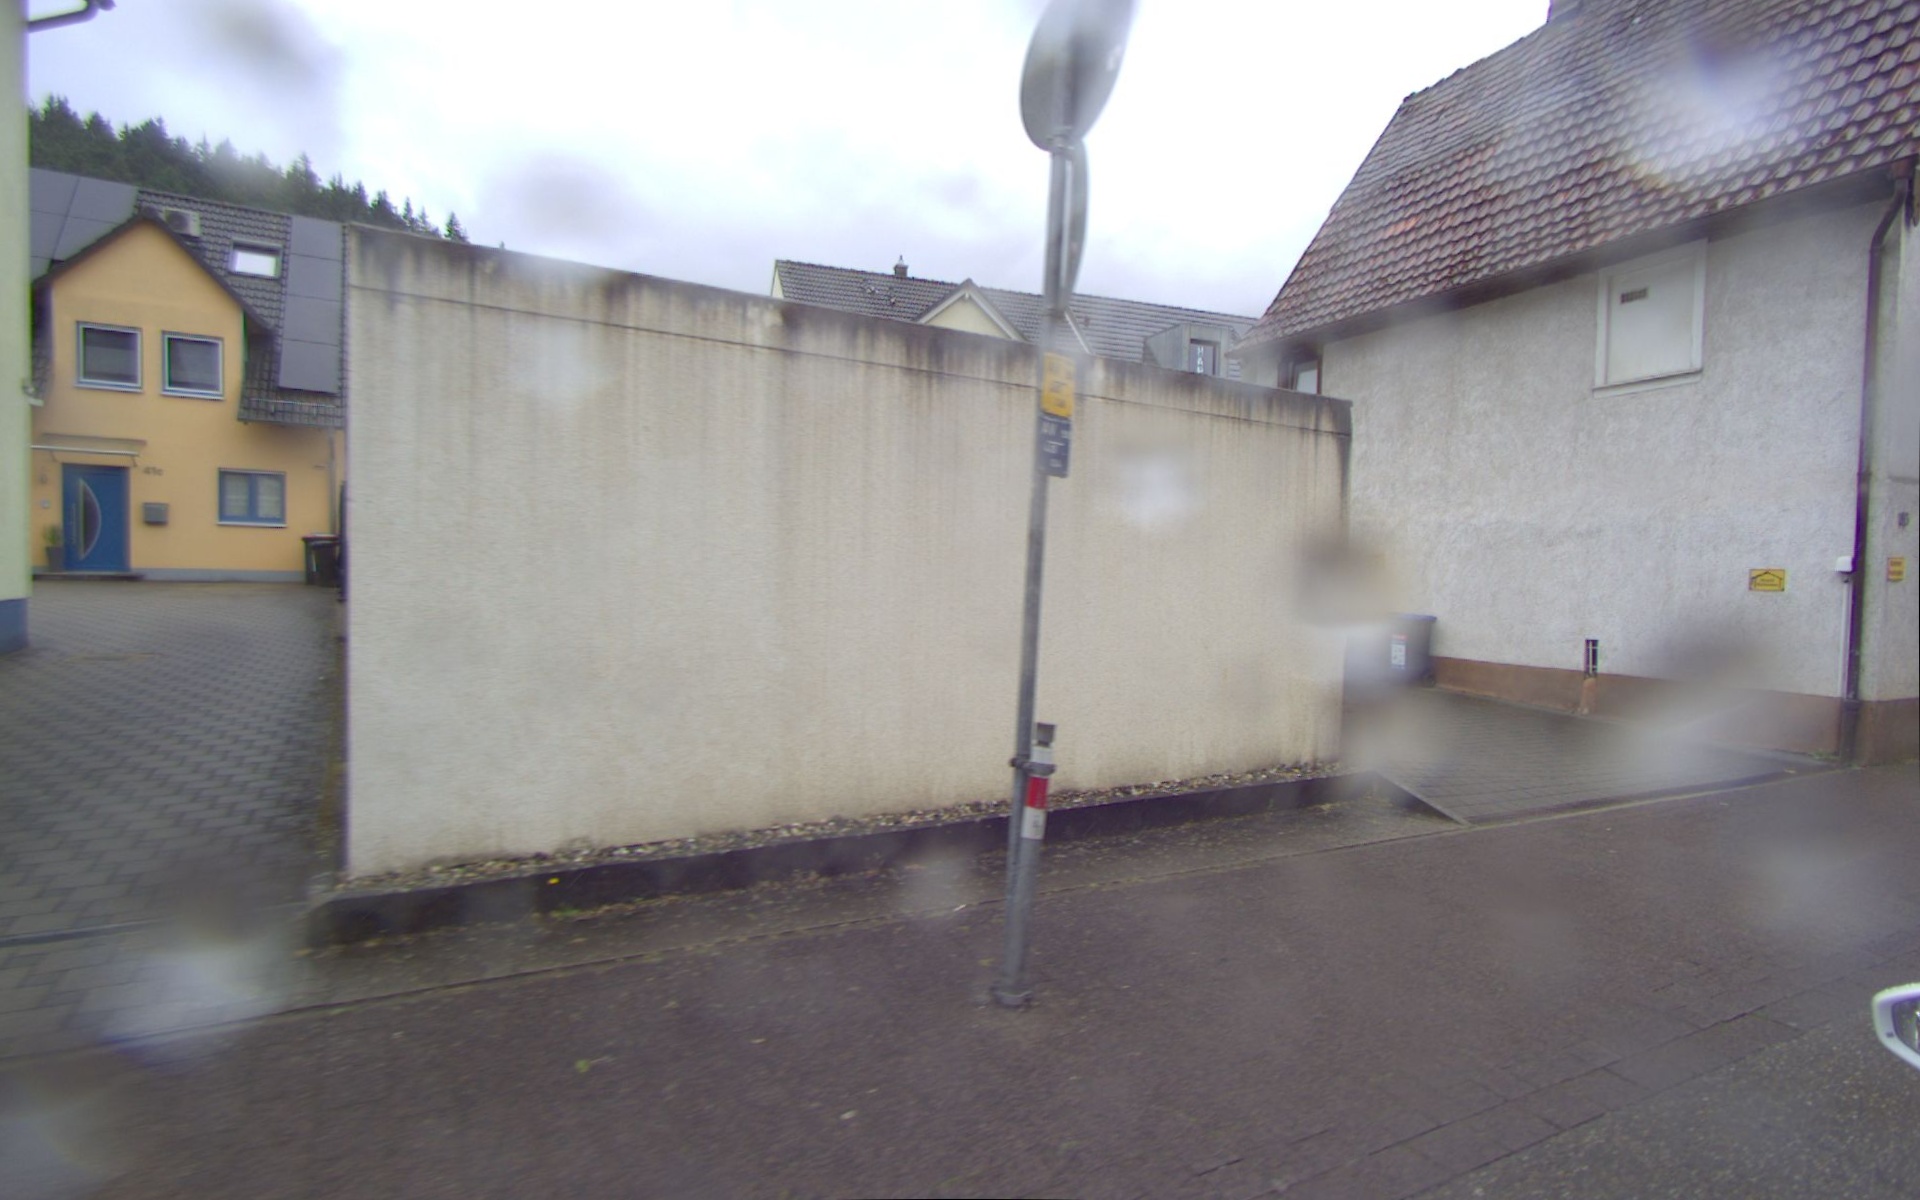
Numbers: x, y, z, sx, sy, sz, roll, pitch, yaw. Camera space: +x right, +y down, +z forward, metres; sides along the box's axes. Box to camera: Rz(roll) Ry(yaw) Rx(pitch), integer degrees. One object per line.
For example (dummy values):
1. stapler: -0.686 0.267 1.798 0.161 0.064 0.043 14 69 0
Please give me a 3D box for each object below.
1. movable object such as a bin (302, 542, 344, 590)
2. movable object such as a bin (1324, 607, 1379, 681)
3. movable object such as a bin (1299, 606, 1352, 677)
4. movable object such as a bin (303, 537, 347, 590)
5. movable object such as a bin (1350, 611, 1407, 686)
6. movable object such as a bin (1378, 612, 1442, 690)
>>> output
1. movable object such as a bin: -12.951 -0.680 20.427 0.681 0.944 0.608 1 1 -30
2. movable object such as a bin: 5.410 0.597 13.888 0.501 0.963 0.448 0 4 -27
3. movable object such as a bin: 5.220 0.584 14.362 0.501 0.963 0.448 0 4 -27
4. movable object such as a bin: -13.383 -0.754 21.175 0.748 1.087 0.607 1 1 -31
5. movable object such as a bin: 5.632 0.638 13.515 0.501 0.963 0.448 0 4 -27
6. movable object such as a bin: 5.847 0.650 13.069 0.547 0.963 0.486 0 4 -27
